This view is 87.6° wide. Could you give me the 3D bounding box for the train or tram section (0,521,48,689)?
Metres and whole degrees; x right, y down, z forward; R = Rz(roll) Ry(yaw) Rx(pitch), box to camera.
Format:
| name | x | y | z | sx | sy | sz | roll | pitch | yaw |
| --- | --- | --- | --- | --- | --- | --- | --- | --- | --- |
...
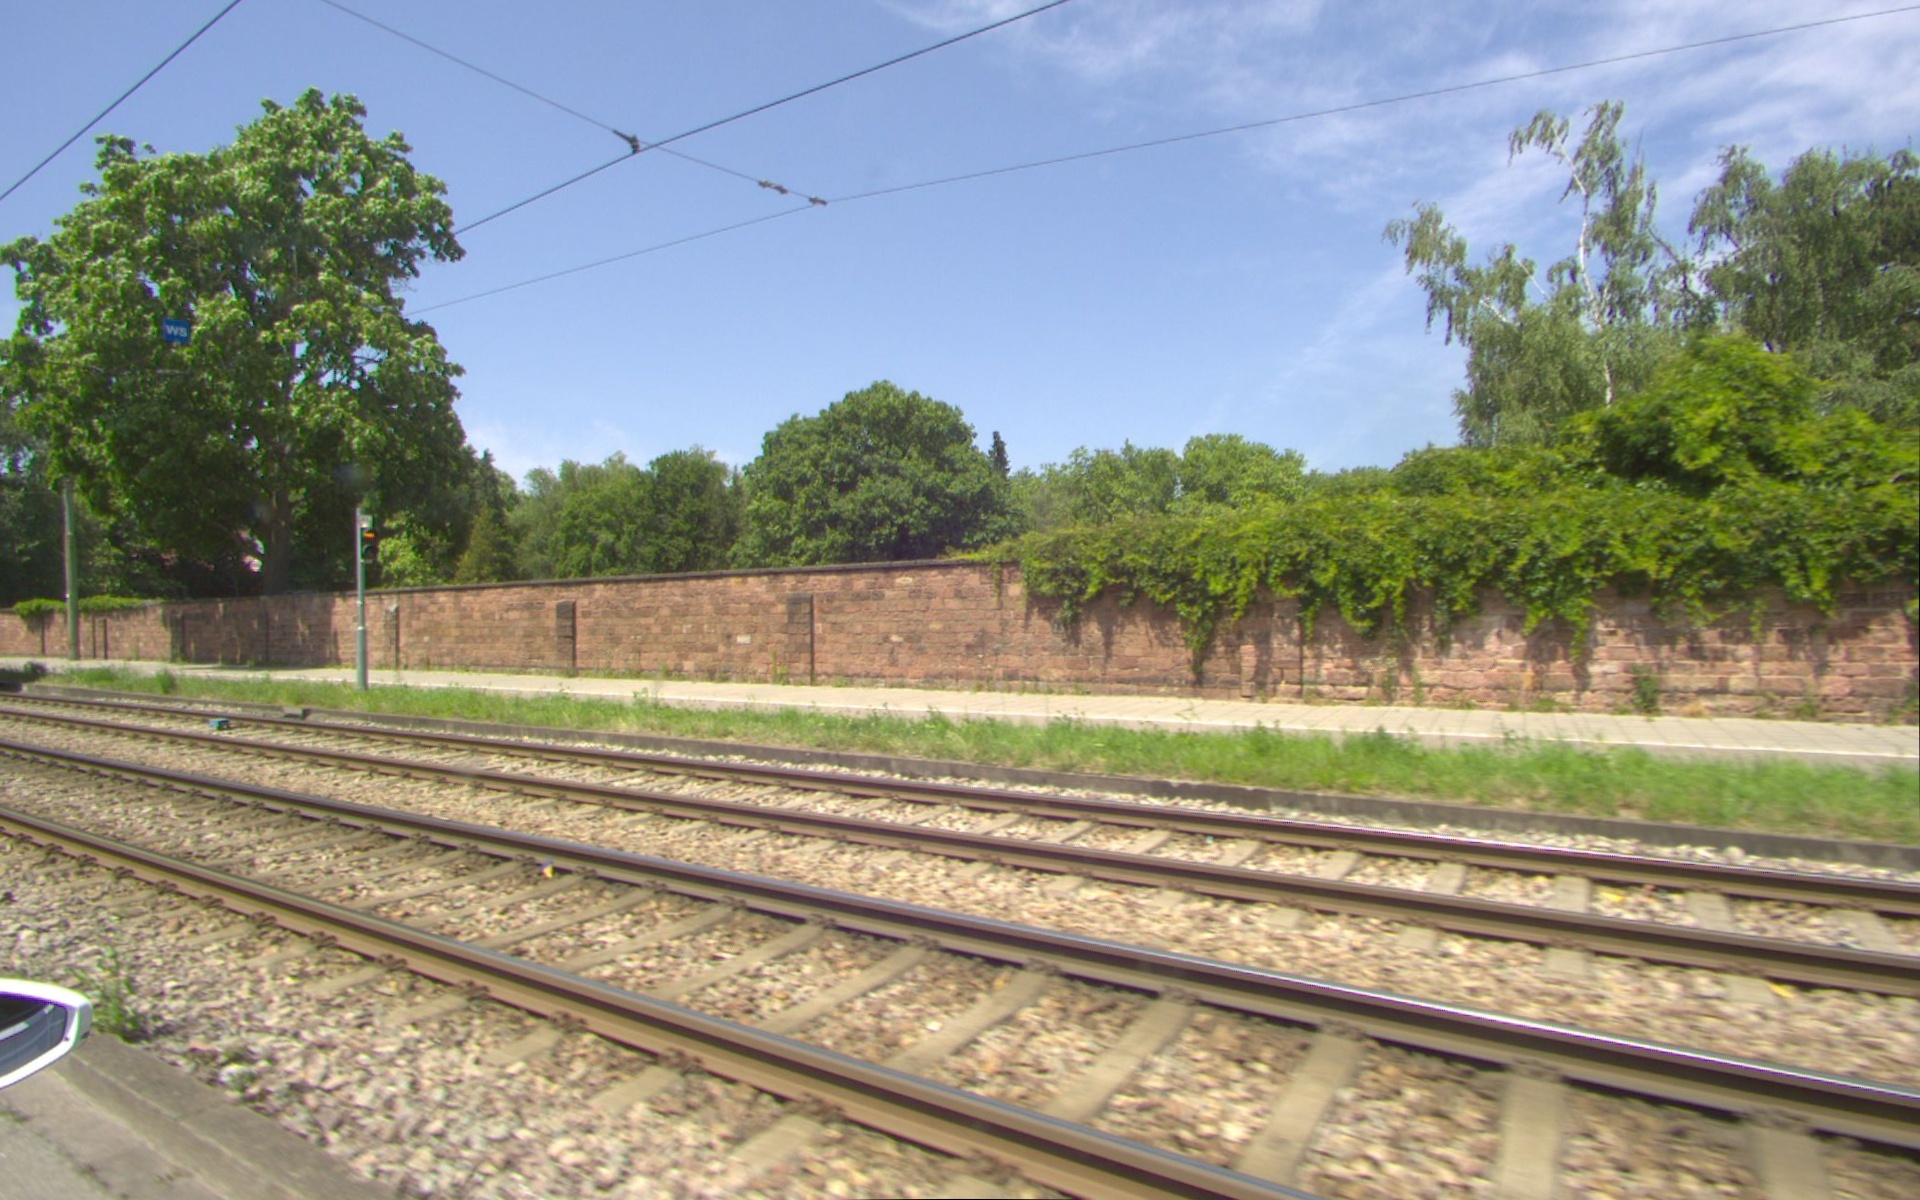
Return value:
| name | x | y | z | sx | sy | sz | roll | pitch | yaw |
| --- | --- | --- | --- | --- | --- | --- | --- | --- | --- |
| train or tram section | -27.846 | 0.189 | 25.885 | 12.902 | 3.848 | 3.022 | -1 | 0 | 32 |
